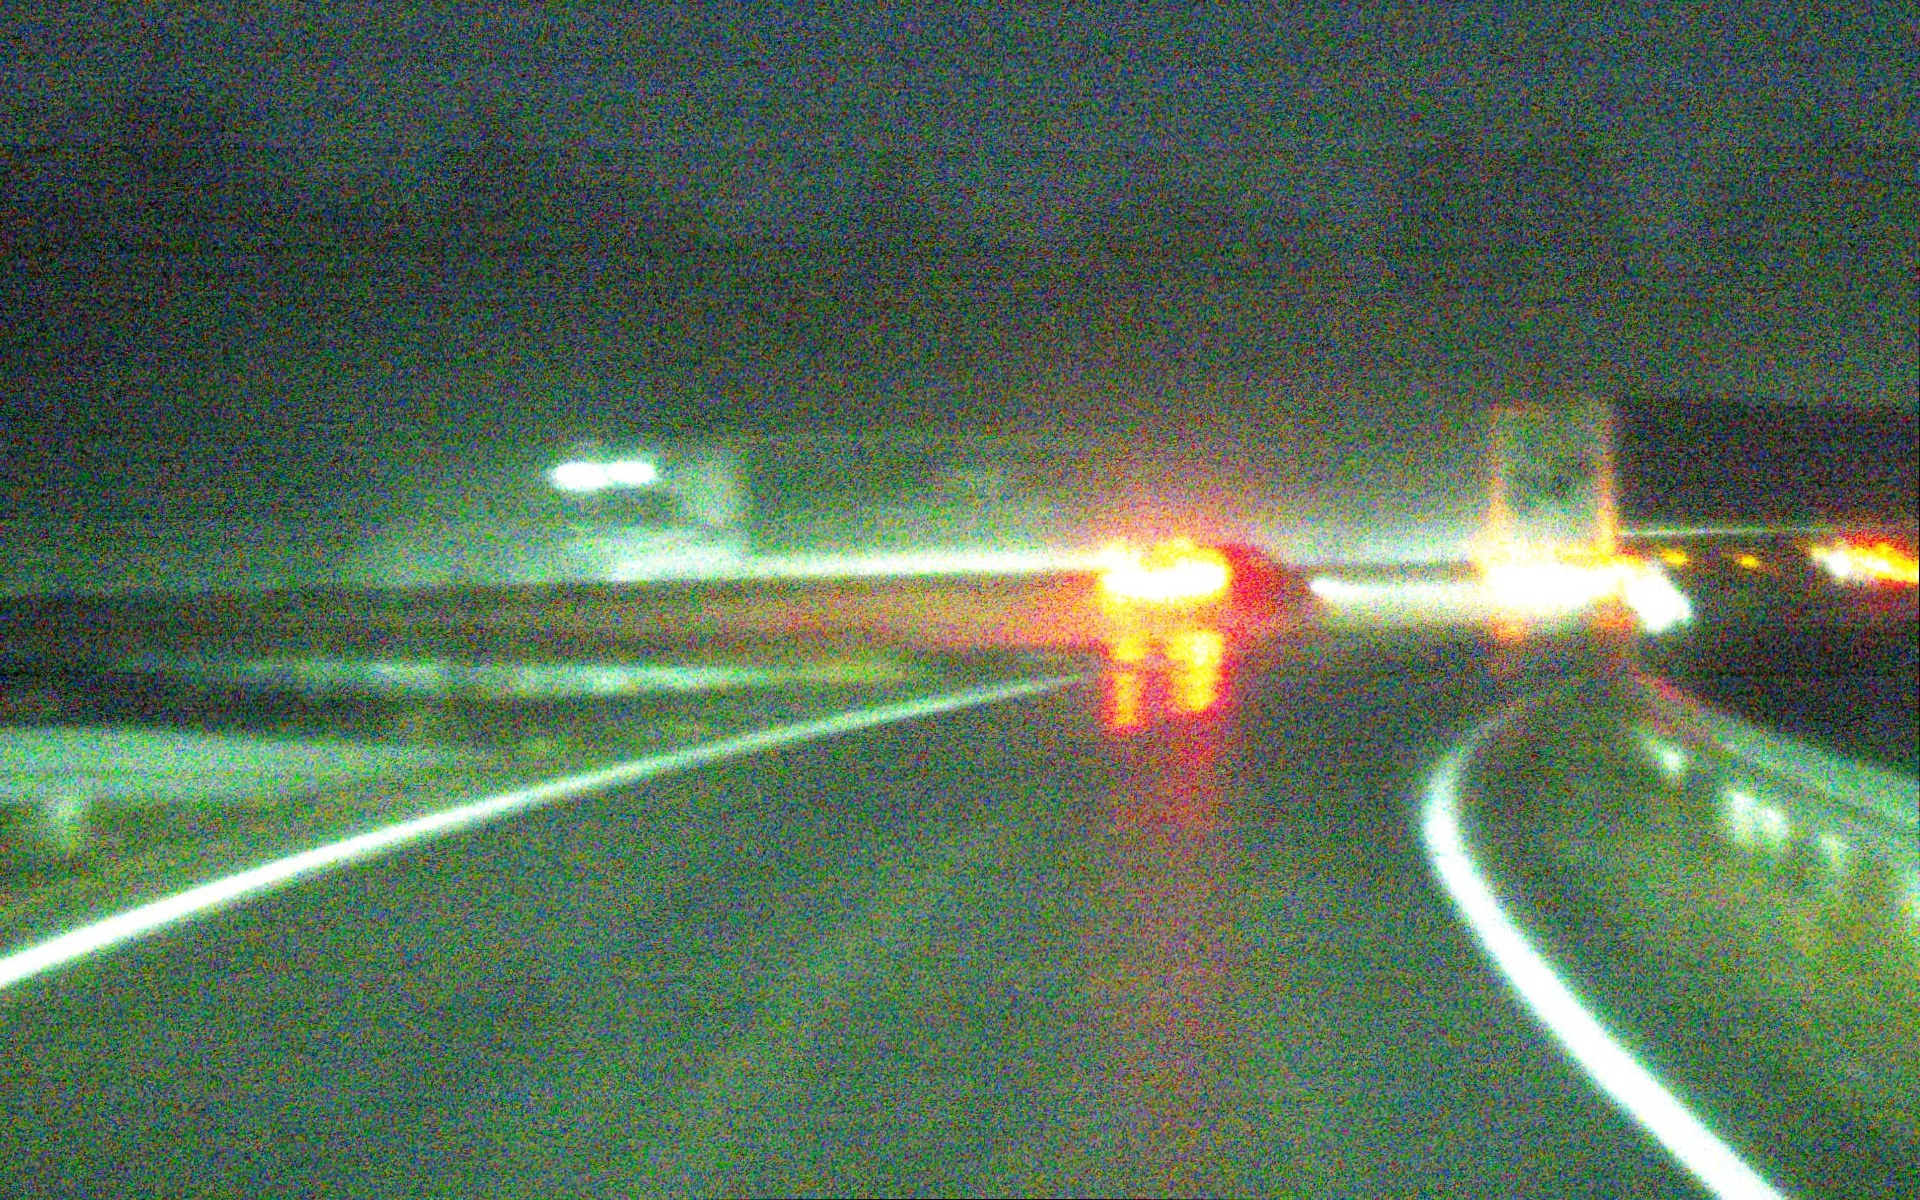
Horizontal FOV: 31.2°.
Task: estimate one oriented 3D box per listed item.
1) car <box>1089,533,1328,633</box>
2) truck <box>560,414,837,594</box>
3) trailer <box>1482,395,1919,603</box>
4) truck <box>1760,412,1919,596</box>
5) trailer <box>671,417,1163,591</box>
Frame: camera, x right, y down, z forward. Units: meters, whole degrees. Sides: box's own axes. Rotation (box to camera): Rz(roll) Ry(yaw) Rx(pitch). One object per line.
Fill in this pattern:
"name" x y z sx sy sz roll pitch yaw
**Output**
"car" 4.328 -0.324 59.537 1.999 1.612 3.990 3 3 45
"truck" -5.605 -2.092 74.259 2.659 3.718 5.690 2 3 42
"trailer" 15.103 -1.947 67.548 2.598 3.712 13.620 3 3 41
"truck" 19.394 -2.023 72.543 2.594 3.698 5.445 3 3 40
"trailer" -0.698 -2.249 79.713 2.659 3.718 13.909 2 3 42
